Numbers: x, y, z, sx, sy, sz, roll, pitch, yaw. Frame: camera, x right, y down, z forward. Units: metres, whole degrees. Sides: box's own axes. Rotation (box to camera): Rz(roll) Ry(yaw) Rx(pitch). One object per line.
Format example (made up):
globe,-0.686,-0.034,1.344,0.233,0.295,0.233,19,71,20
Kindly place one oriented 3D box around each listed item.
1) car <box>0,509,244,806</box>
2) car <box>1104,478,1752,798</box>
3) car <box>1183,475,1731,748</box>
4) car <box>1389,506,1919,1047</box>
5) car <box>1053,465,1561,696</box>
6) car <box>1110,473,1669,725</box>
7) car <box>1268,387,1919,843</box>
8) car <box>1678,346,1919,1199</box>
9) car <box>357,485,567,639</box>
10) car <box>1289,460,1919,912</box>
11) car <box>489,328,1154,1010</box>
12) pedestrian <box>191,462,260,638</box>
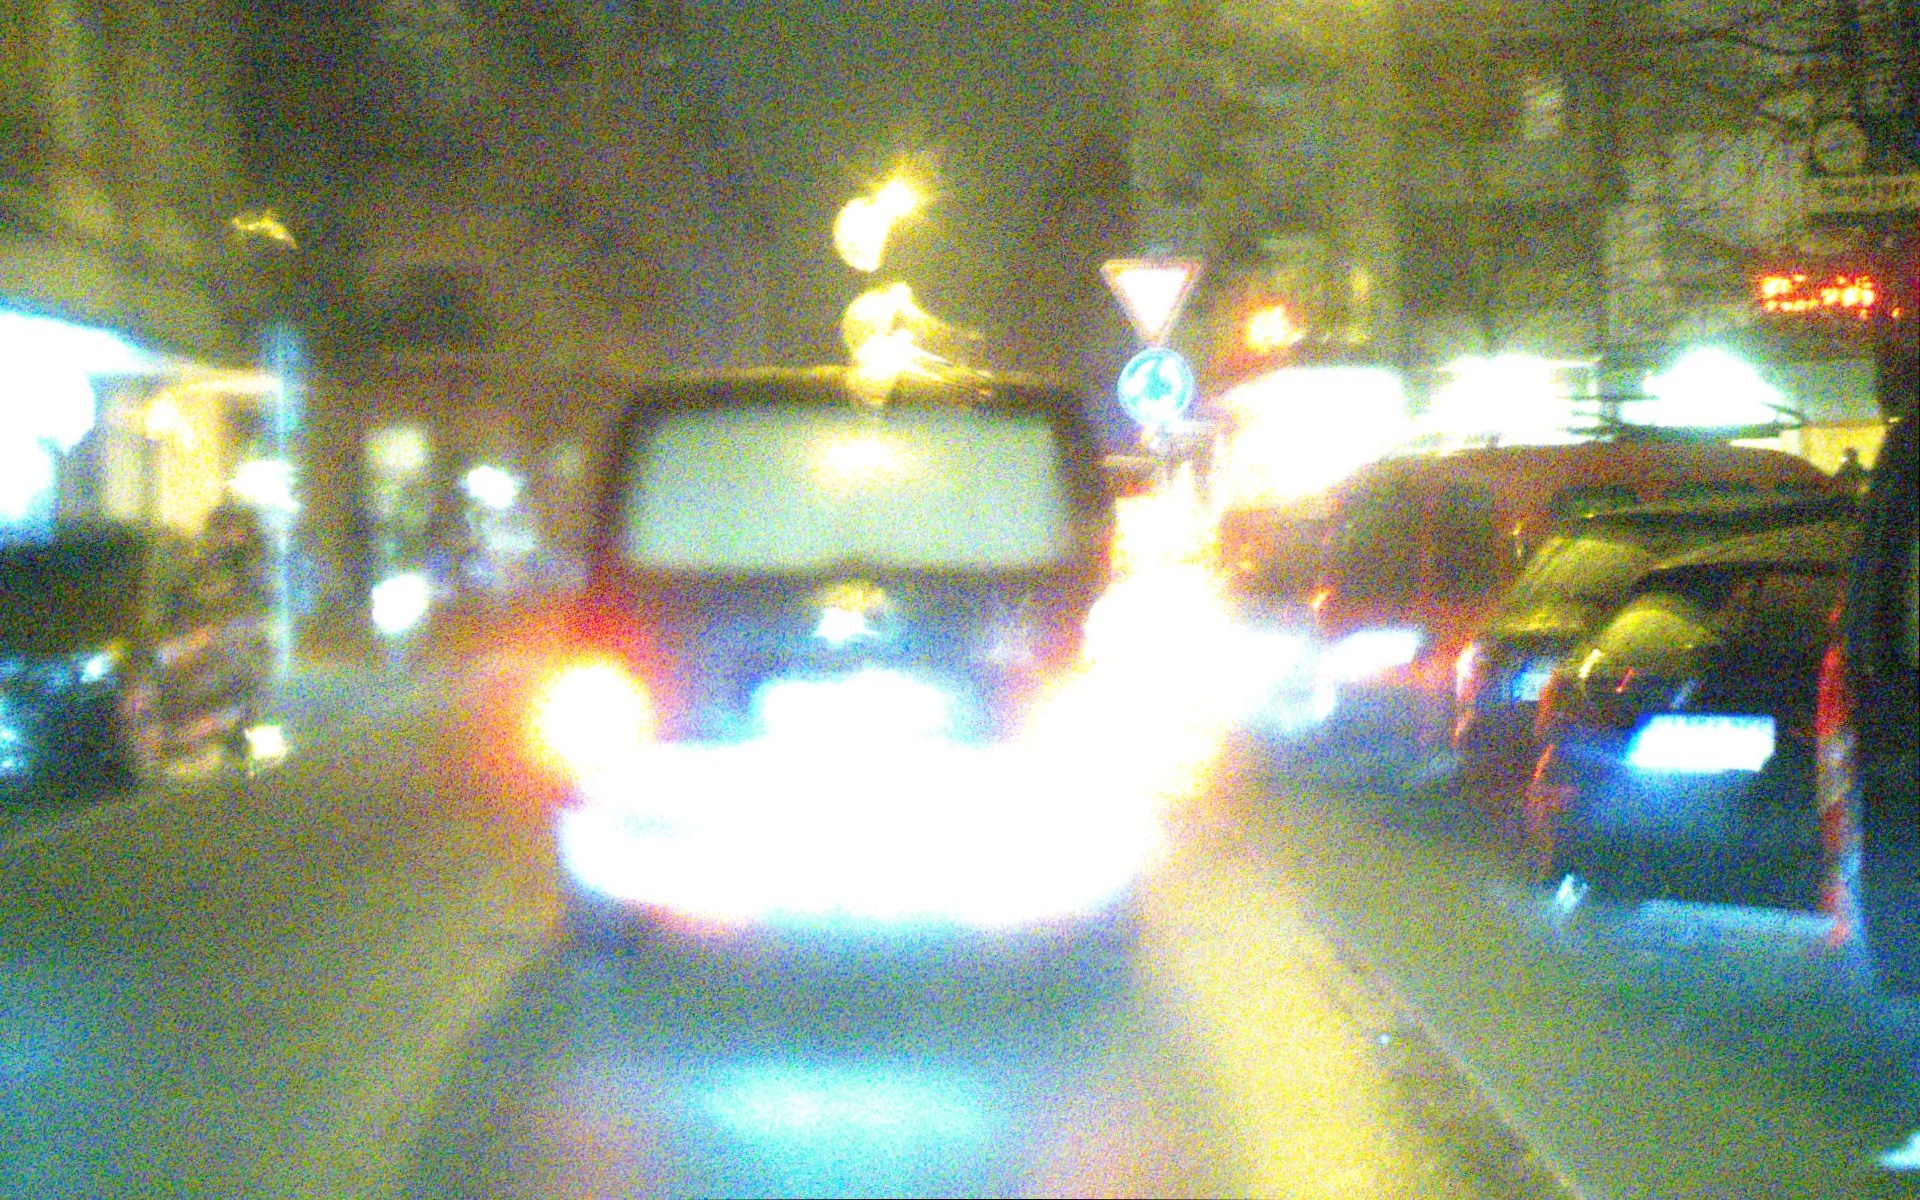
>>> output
car,-5.349,0.249,19.963,1.812,1.552,4.077,0,1,-4
car,2.750,0.169,19.884,3.555,1.585,1.605,-4,2,-37
car,3.434,0.034,23.527,3.559,1.727,1.689,-1,2,-37
car,3.308,0.422,11.180,3.555,1.448,1.672,-4,2,-36
car,2.926,-0.220,28.641,3.988,1.755,1.880,-2,3,-37
car,3.265,-0.053,25.854,3.988,1.755,1.880,-1,2,-37
car,3.423,0.005,16.960,3.555,1.984,1.605,-4,2,-37
car,3.618,0.299,7.971,3.739,1.834,1.726,-4,2,-37
car,-5.654,-0.463,39.472,1.883,1.679,4.000,0,1,-1
car,3.558,0.243,14.640,3.988,1.582,1.880,-4,2,-36
car,-0.442,0.184,12.348,1.993,2.043,4.000,0,1,-1
pedestrian,-7.971,-0.549,37.325,0.660,1.897,0.539,0,1,-5
